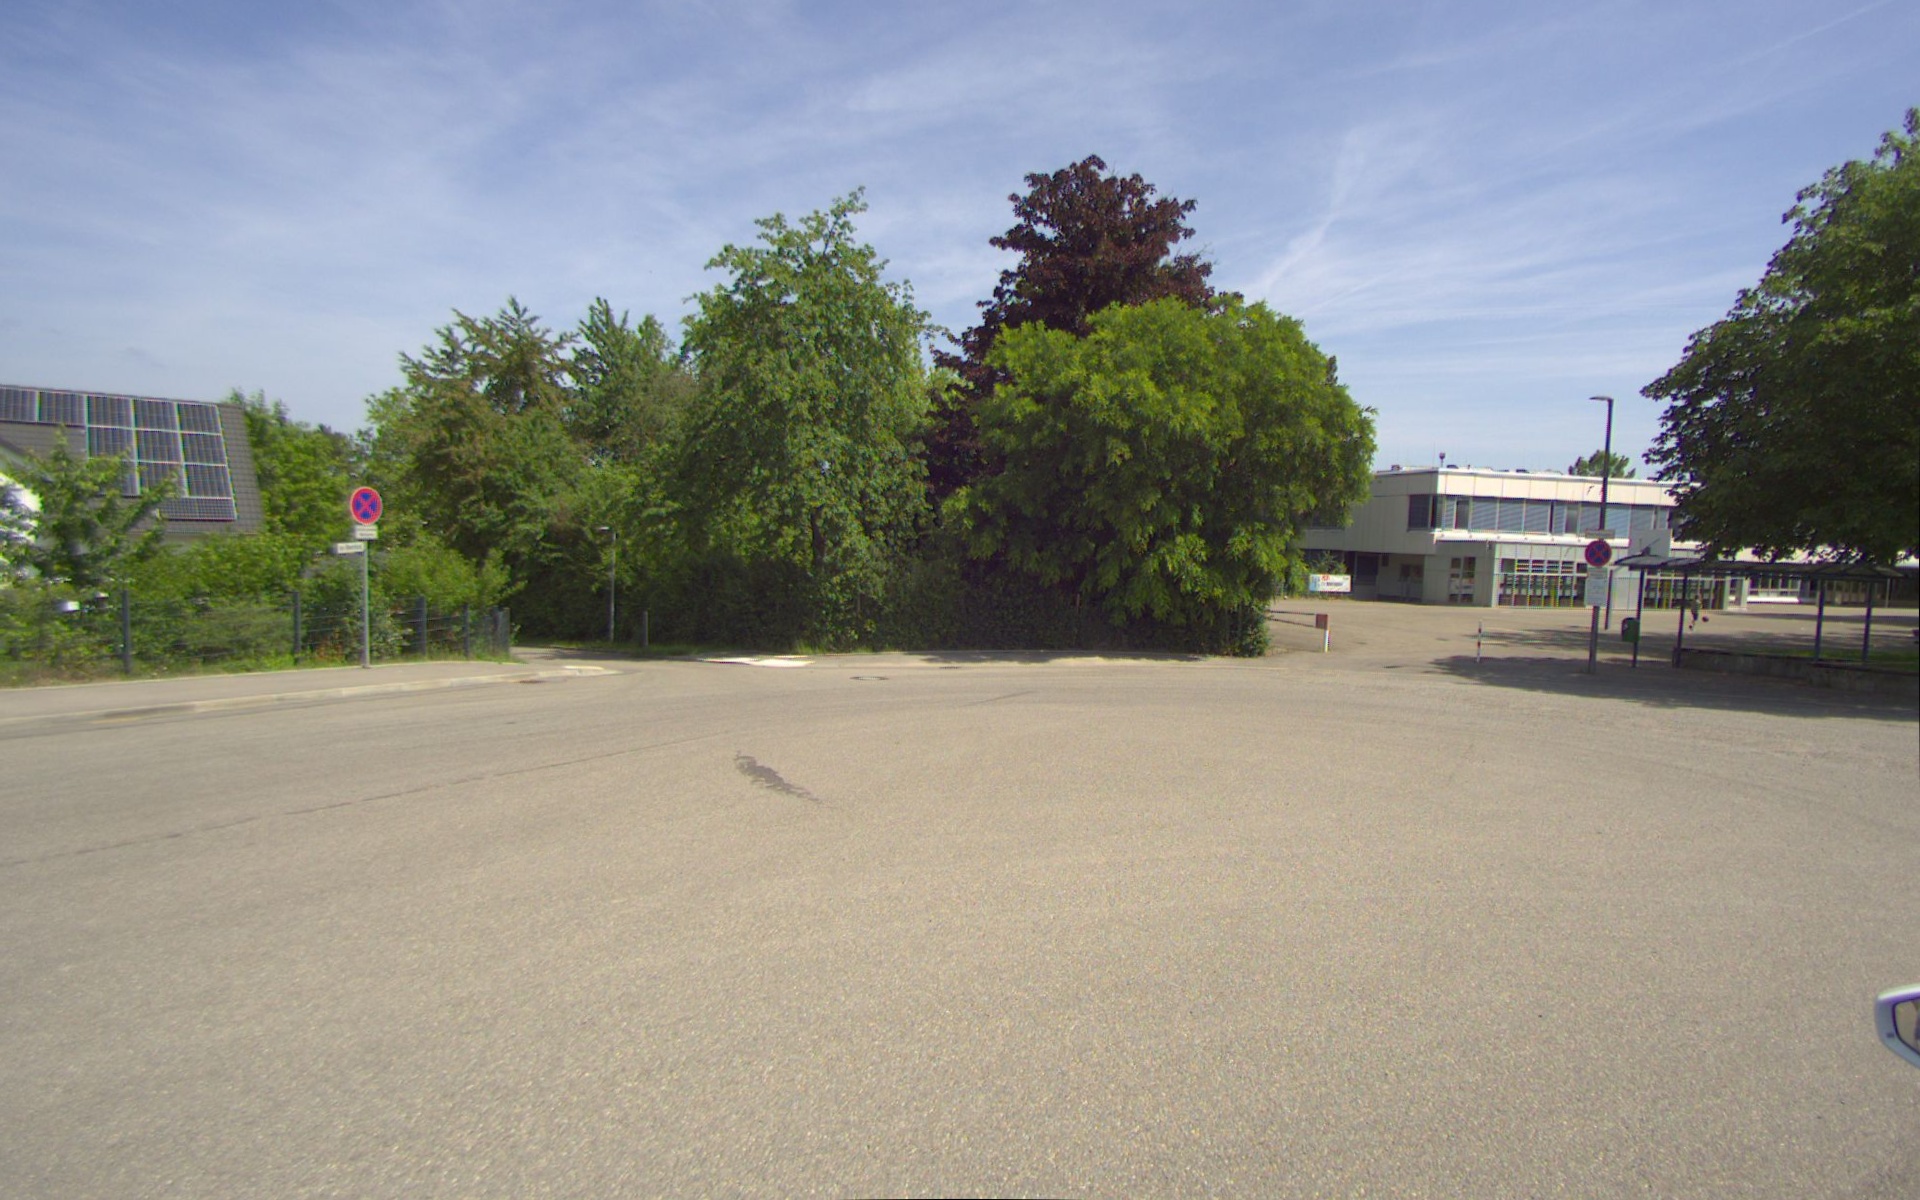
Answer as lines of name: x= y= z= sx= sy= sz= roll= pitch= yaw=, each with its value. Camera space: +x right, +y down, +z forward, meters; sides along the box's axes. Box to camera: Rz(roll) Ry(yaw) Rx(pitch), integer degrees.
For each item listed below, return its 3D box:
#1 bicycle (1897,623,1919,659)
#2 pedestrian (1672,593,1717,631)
bicycle: x=29.283 y=1.232 z=30.328 sx=1.863 sy=1.053 sz=0.594 roll=1 pitch=2 yaw=-18
pedestrian: x=29.642 y=0.481 z=40.545 sx=1.051 sy=1.442 sz=0.917 roll=2 pitch=3 yaw=-12
